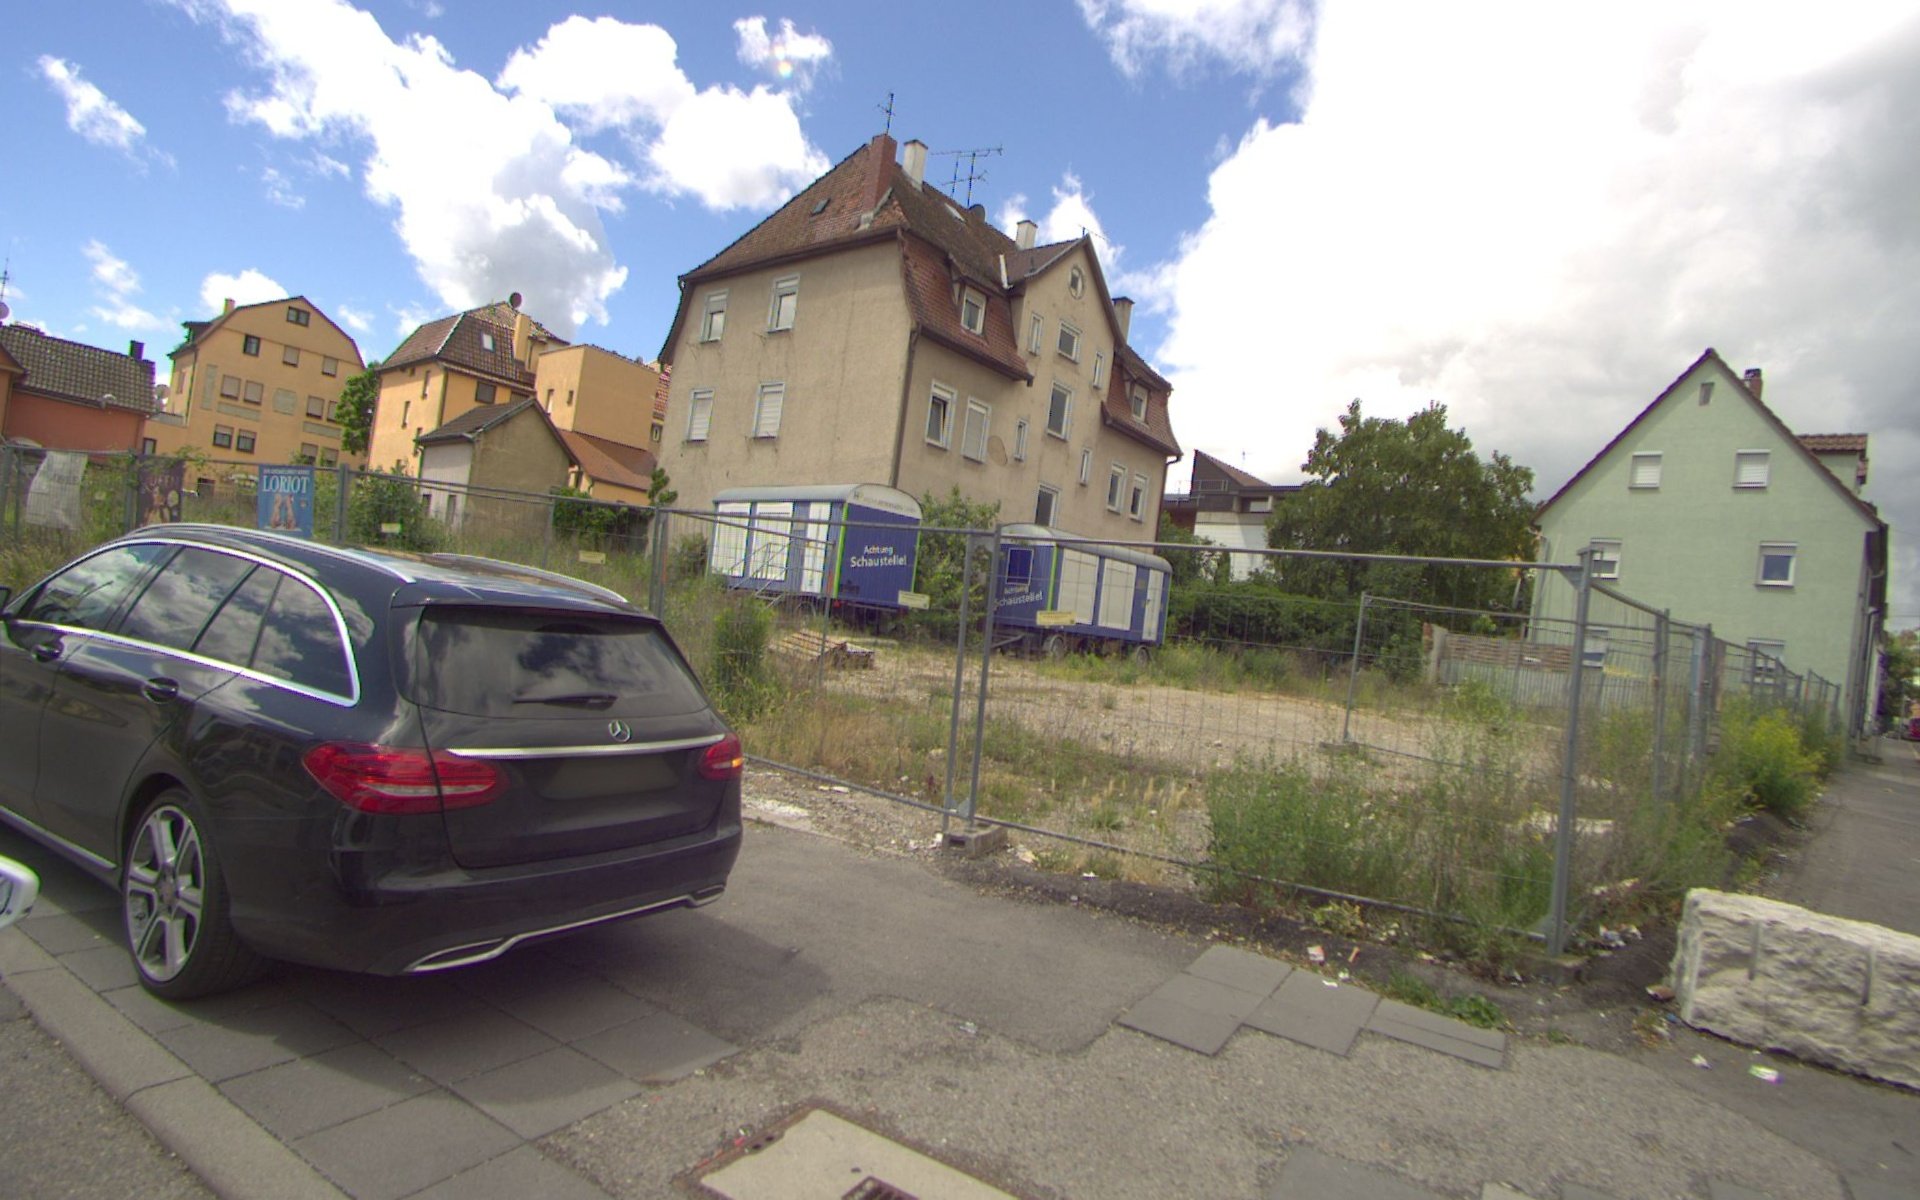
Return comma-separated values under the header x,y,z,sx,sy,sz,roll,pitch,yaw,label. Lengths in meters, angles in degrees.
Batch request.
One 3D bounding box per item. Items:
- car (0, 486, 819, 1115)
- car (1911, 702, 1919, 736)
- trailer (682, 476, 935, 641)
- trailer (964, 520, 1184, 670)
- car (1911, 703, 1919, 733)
x,y,z,sx,sy,sz,roll,pitch,yaw,label
-2.977,0.406,4.427,4.400,1.469,1.785,7,0,31,car
63.064,7.832,65.213,1.801,2.096,3.977,9,1,44,car
-3.682,-1.033,23.282,2.398,3.160,6.083,7,-1,-44,trailer
3.172,-0.022,26.612,2.379,3.159,6.132,7,-1,42,trailer
70.724,8.715,73.343,1.801,2.096,3.977,9,1,44,car
